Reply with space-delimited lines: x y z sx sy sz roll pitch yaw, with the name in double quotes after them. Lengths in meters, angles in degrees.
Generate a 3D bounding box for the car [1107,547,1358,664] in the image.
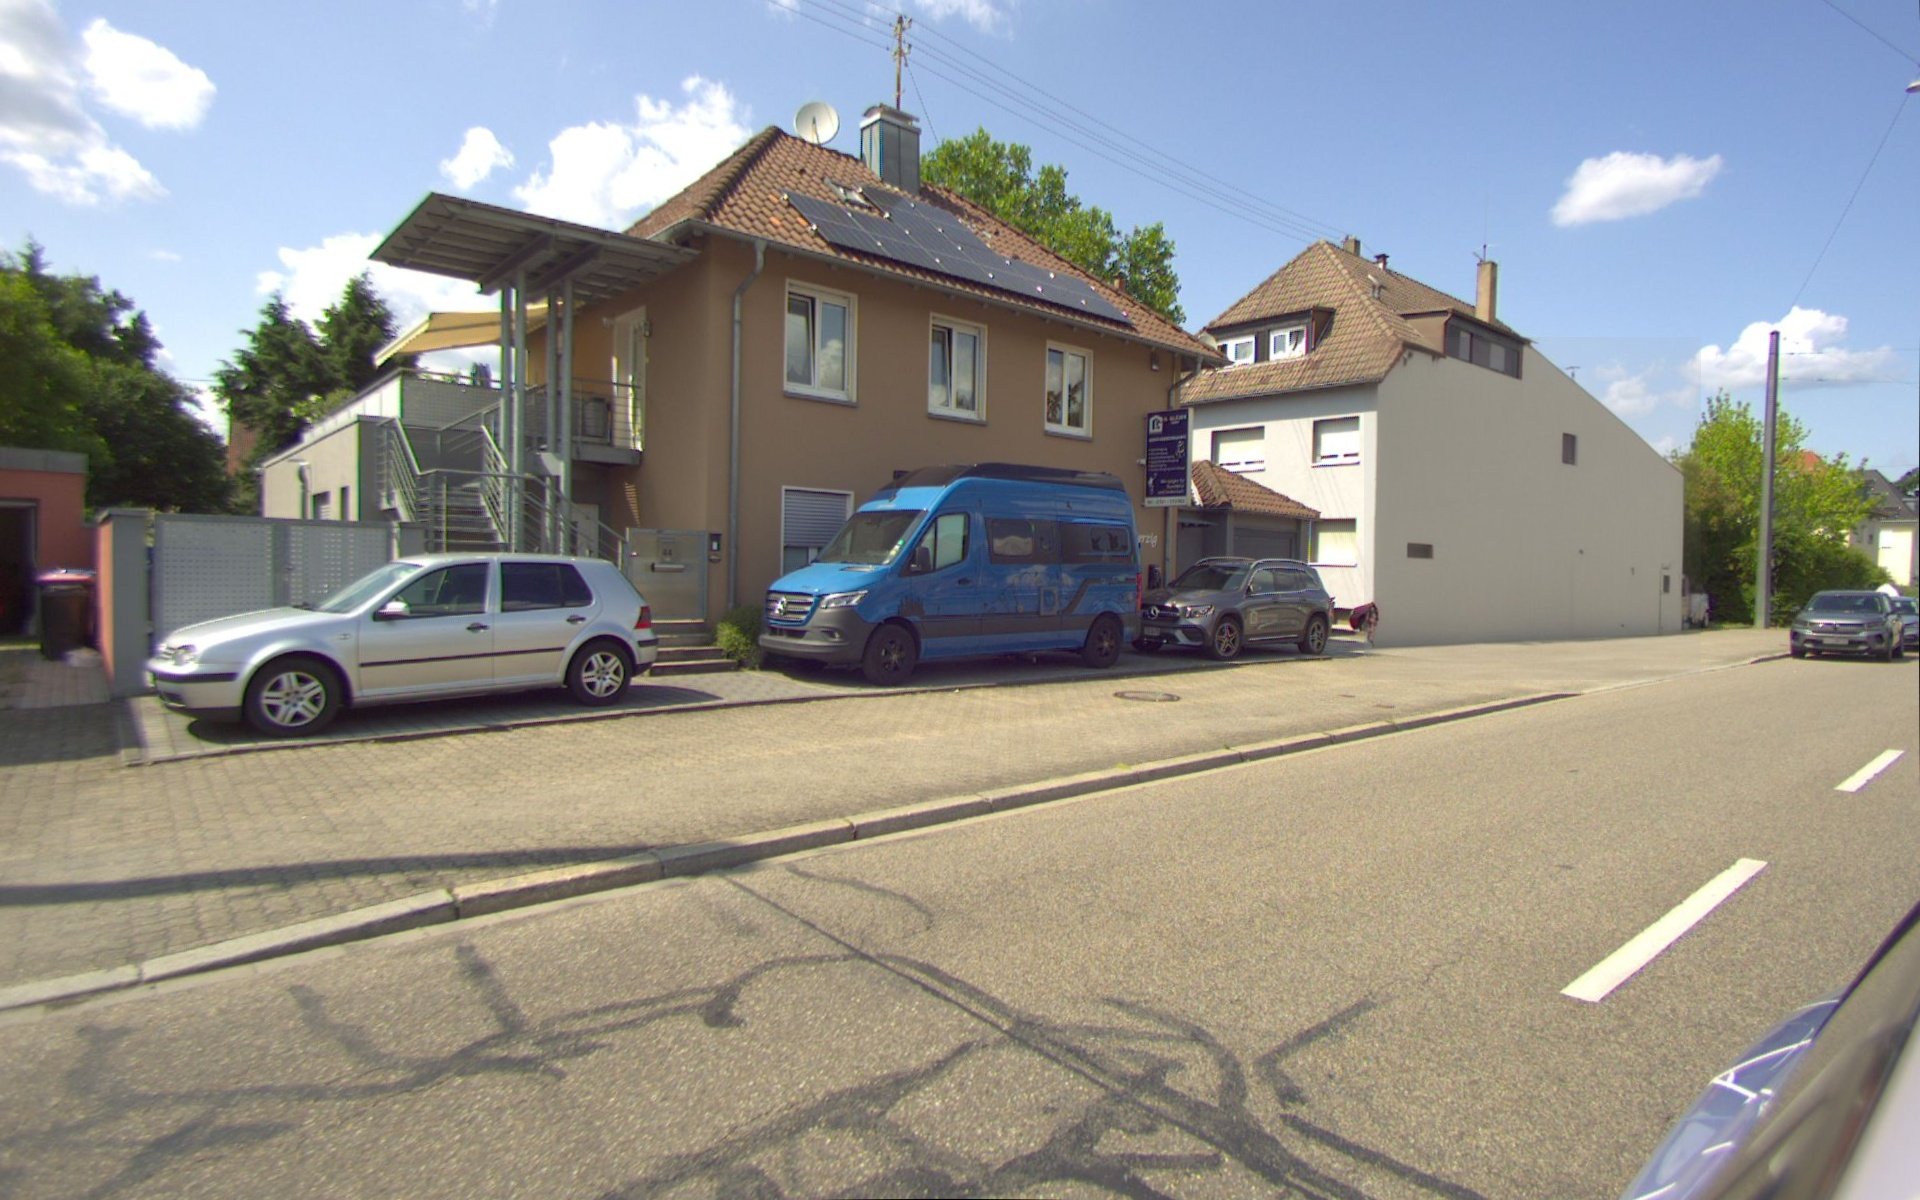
4.883 0.054 17.740 4.779 1.732 1.840 0 3 -41 "car"

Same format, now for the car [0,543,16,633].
-16.403 -0.254 16.217 1.773 1.371 3.548 0 2 -42 "car"

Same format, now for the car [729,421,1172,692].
0.122 -0.519 13.871 6.134 2.967 2.156 -1 1 -40 "car"

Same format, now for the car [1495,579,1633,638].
16.802 0.189 28.042 4.771 1.441 1.803 0 3 -40 "car"

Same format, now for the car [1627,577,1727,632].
24.339 0.107 34.286 4.688 1.667 1.760 -1 3 -43 "car"

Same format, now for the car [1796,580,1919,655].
20.966 0.339 23.485 4.180 1.579 1.810 -1 1 -42 "car"

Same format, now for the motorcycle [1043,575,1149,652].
2.392 0.220 17.689 1.933 1.248 0.693 0 2 -41 "motorcycle"

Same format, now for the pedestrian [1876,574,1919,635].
31.682 0.134 34.010 1.072 1.970 1.115 0 2 -37 "pedestrian"

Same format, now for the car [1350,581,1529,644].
11.838 0.246 25.137 1.697 1.397 3.655 -1 2 -41 "car"

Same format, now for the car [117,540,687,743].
-4.834 0.231 9.228 4.280 1.426 1.650 -1 3 -45 "car"

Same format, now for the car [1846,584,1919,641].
25.895 0.291 27.797 4.564 1.472 1.817 -1 1 -42 "car"
